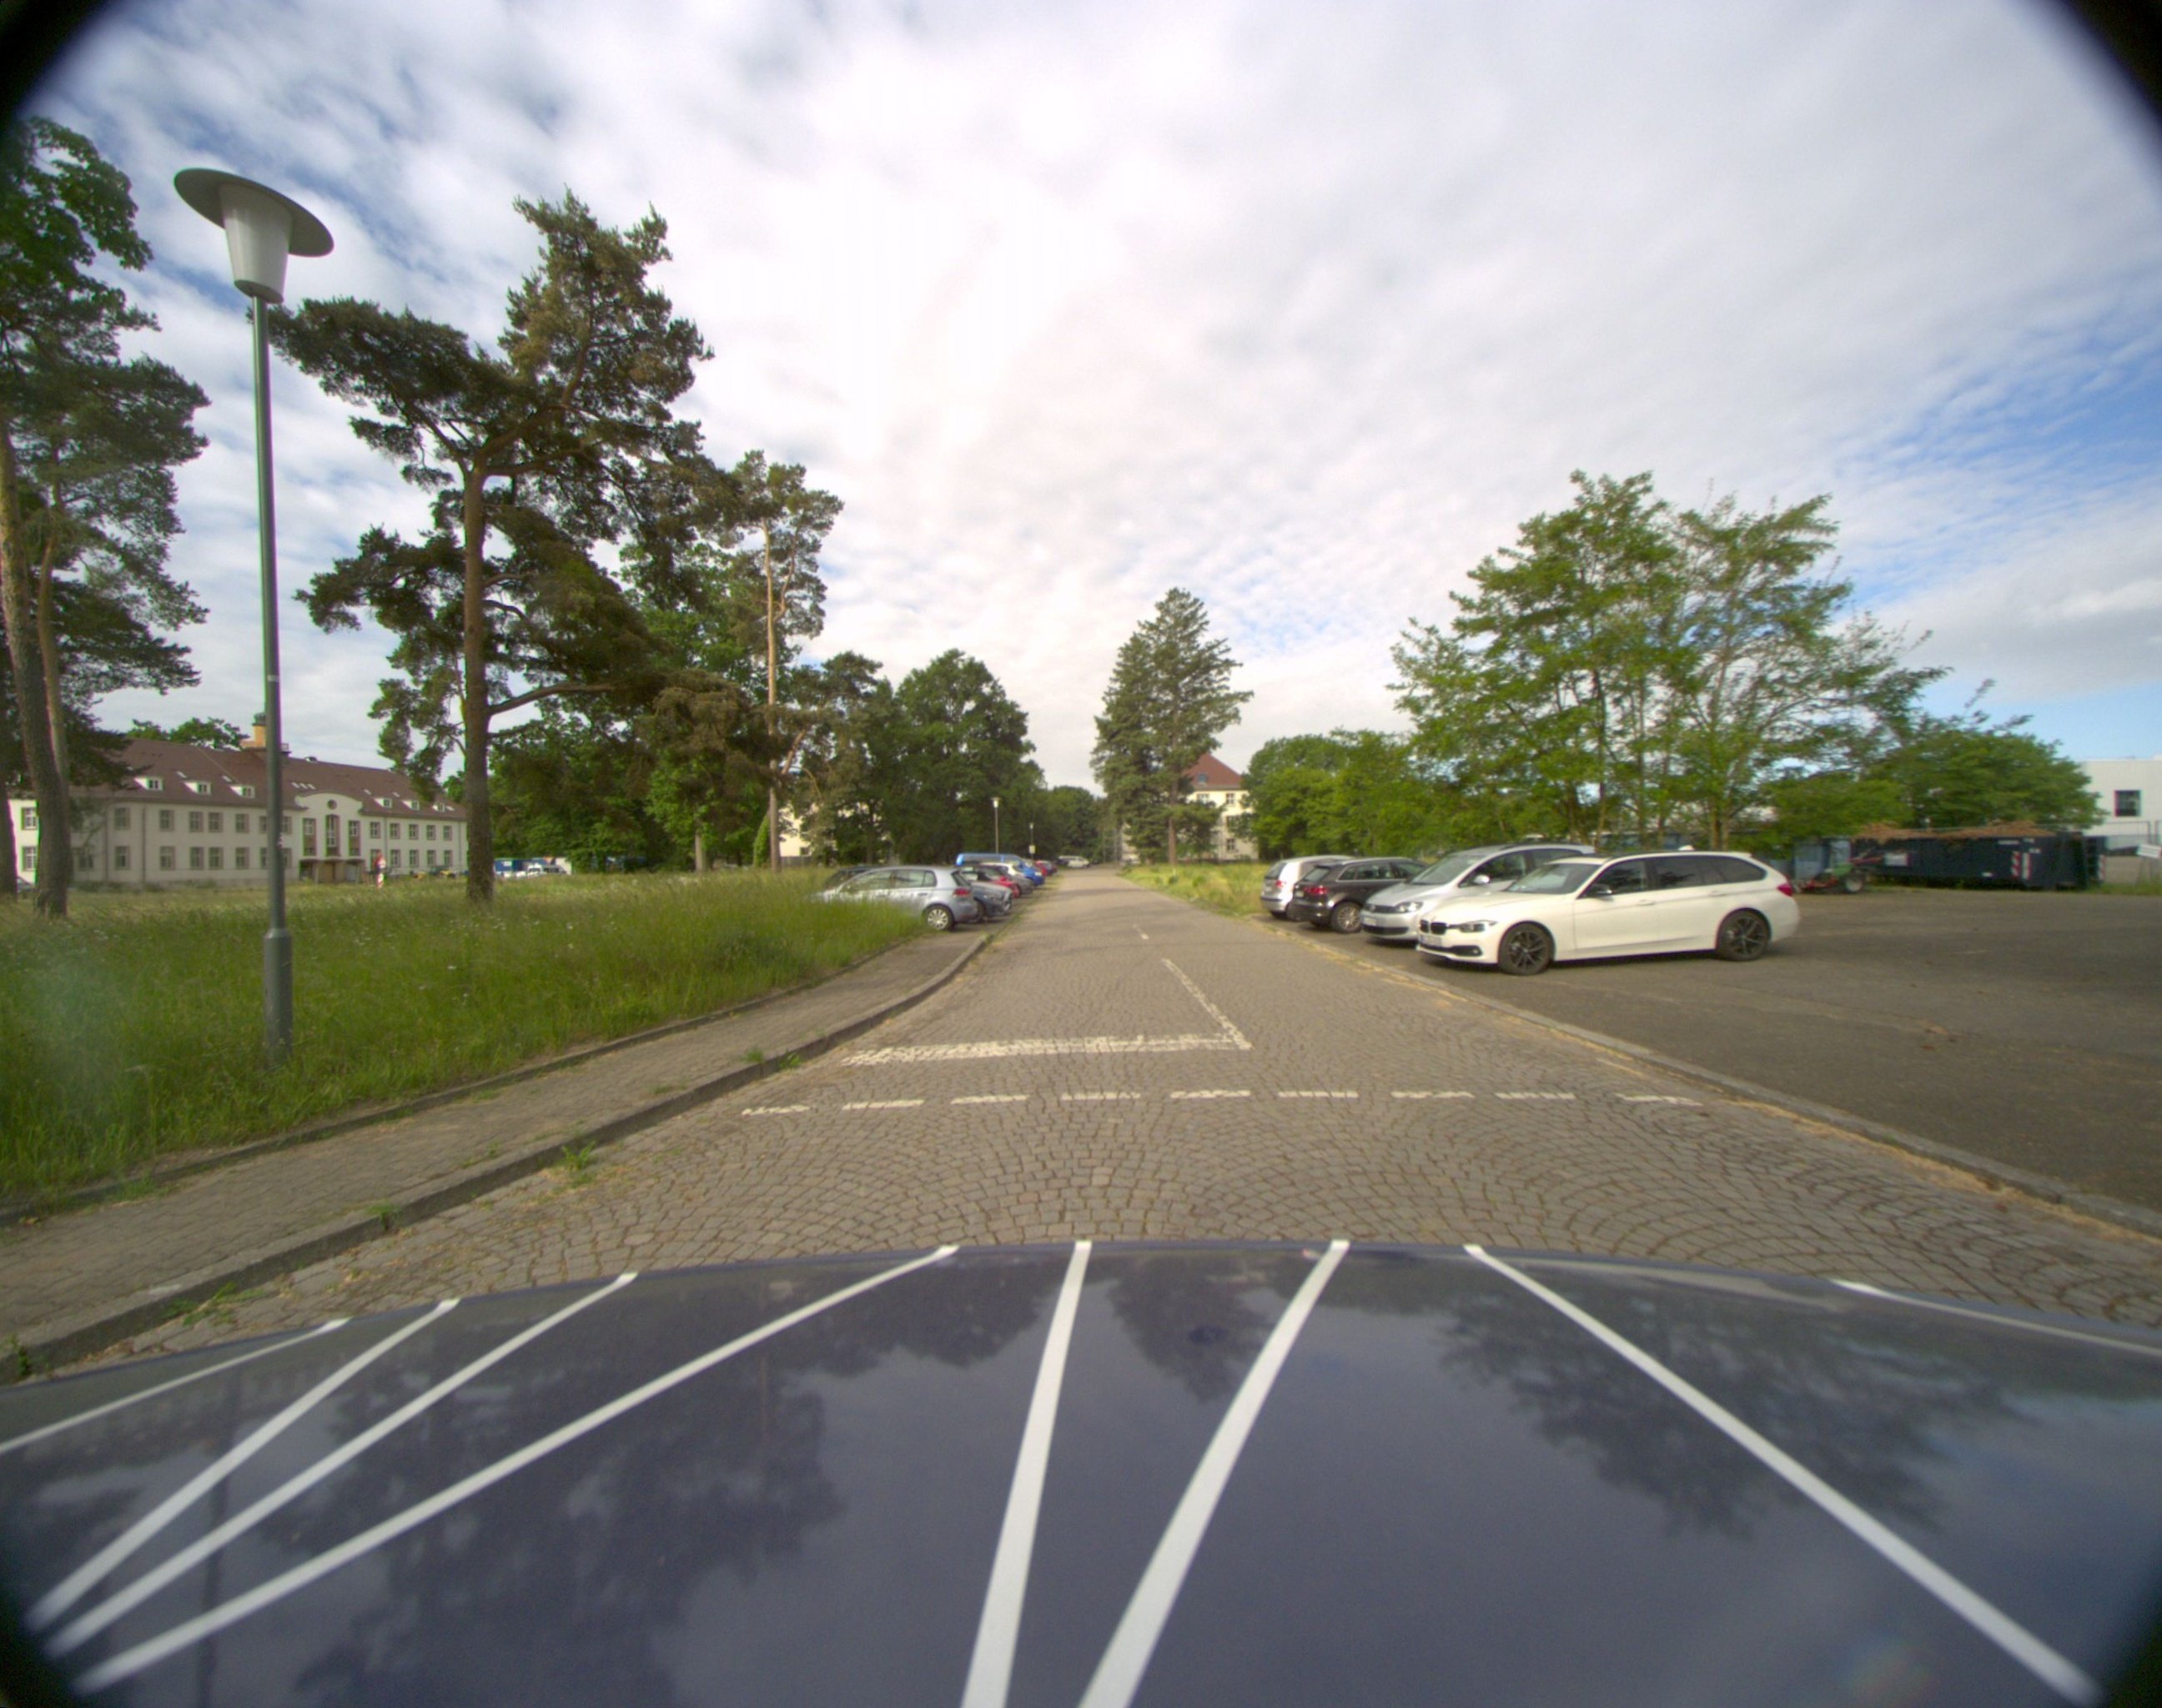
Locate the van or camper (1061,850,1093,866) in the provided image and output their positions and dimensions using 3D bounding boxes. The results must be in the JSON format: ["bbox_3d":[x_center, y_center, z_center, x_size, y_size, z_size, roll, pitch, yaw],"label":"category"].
[{"bbox_3d":[-0.683,0.605,123.942,5.248,2.449,2.208,-1,1,-2],"label":"van or camper"}]

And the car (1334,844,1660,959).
[{"bbox_3d":[6.860,0.729,12.819,4.486,1.580,1.846,-3,0,-4],"label":"car"}]

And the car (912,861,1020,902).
[{"bbox_3d":[-4.479,1.059,29.923,3.932,1.467,1.797,-1,0,1],"label":"car"}]

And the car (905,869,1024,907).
[{"bbox_3d":[-4.120,1.196,27.306,3.932,1.227,1.797,-1,0,1],"label":"car"}]

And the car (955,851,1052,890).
[{"bbox_3d":[-4.115,0.852,40.889,4.839,2.002,2.001,-1,0,4],"label":"car"}]

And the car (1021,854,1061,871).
[{"bbox_3d":[-3.924,0.857,74.909,3.791,1.615,2.000,-1,0,2],"label":"car"}]

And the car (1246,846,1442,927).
[{"bbox_3d":[6.206,0.731,18.175,3.985,1.447,1.680,-6,1,-4],"label":"car"}]

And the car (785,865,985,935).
[{"bbox_3d":[-4.319,1.008,17.187,3.997,1.410,1.797,-1,0,1],"label":"car"}]

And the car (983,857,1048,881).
[{"bbox_3d":[-4.264,0.949,49.823,3.996,1.495,1.869,-1,0,2],"label":"car"}]

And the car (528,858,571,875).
[{"bbox_3d":[-68.054,1.594,97.323,2.166,2.002,4.833,-1,0,-2],"label":"car"}]

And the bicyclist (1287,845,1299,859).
[{"bbox_3d":[27.173,-0.240,97.452,1.318,1.857,1.250,-1,1,5],"label":"bicyclist"}]

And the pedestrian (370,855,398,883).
[{"bbox_3d":[-54.464,1.167,59.370,1.184,2.165,1.056,-1,1,0],"label":"pedestrian"}]

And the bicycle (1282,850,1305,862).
[{"bbox_3d":[27.279,0.250,97.448,2.673,1.496,1.273,-1,0,5],"label":"bicycle"}]

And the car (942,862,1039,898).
[{"bbox_3d":[-3.829,1.107,32.607,3.933,1.427,1.796,-1,0,0],"label":"car"}]

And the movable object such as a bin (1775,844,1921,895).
[{"bbox_3d":[19.462,0.380,19.335,2.537,1.205,1.170,-1,1,-1],"label":"movable object such as a bin"}]

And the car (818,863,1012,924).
[{"bbox_3d":[-4.202,0.989,19.780,4.630,1.437,1.796,-1,0,0],"label":"car"}]

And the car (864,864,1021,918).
[{"bbox_3d":[-4.014,1.064,22.502,4.266,1.437,1.797,-1,0,3],"label":"car"}]

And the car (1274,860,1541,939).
[{"bbox_3d":[6.523,0.877,15.514,4.632,1.414,1.884,-1,0,-3],"label":"car"}]

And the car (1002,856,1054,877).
[{"bbox_3d":[-4.180,0.984,60.118,3.998,1.560,1.999,-1,0,-3],"label":"car"}]

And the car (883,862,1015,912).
[{"bbox_3d":[-4.233,1.043,24.821,3.932,1.504,1.797,-1,0,3],"label":"car"}]

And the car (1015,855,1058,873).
[{"bbox_3d":[-4.124,0.882,70.429,3.791,1.560,2.000,-1,0,2],"label":"car"}]

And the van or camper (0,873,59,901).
[{"bbox_3d":[-94.790,2.930,66.831,6.124,2.293,2.464,-1,0,-2],"label":"van or camper"}]

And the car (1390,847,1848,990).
[{"bbox_3d":[6.978,0.774,10.214,4.819,1.431,1.913,-4,0,-2],"label":"car"}]

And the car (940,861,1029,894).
[{"bbox_3d":[-4.480,1.066,35.688,3.933,1.441,1.796,-1,0,0],"label":"car"}]
